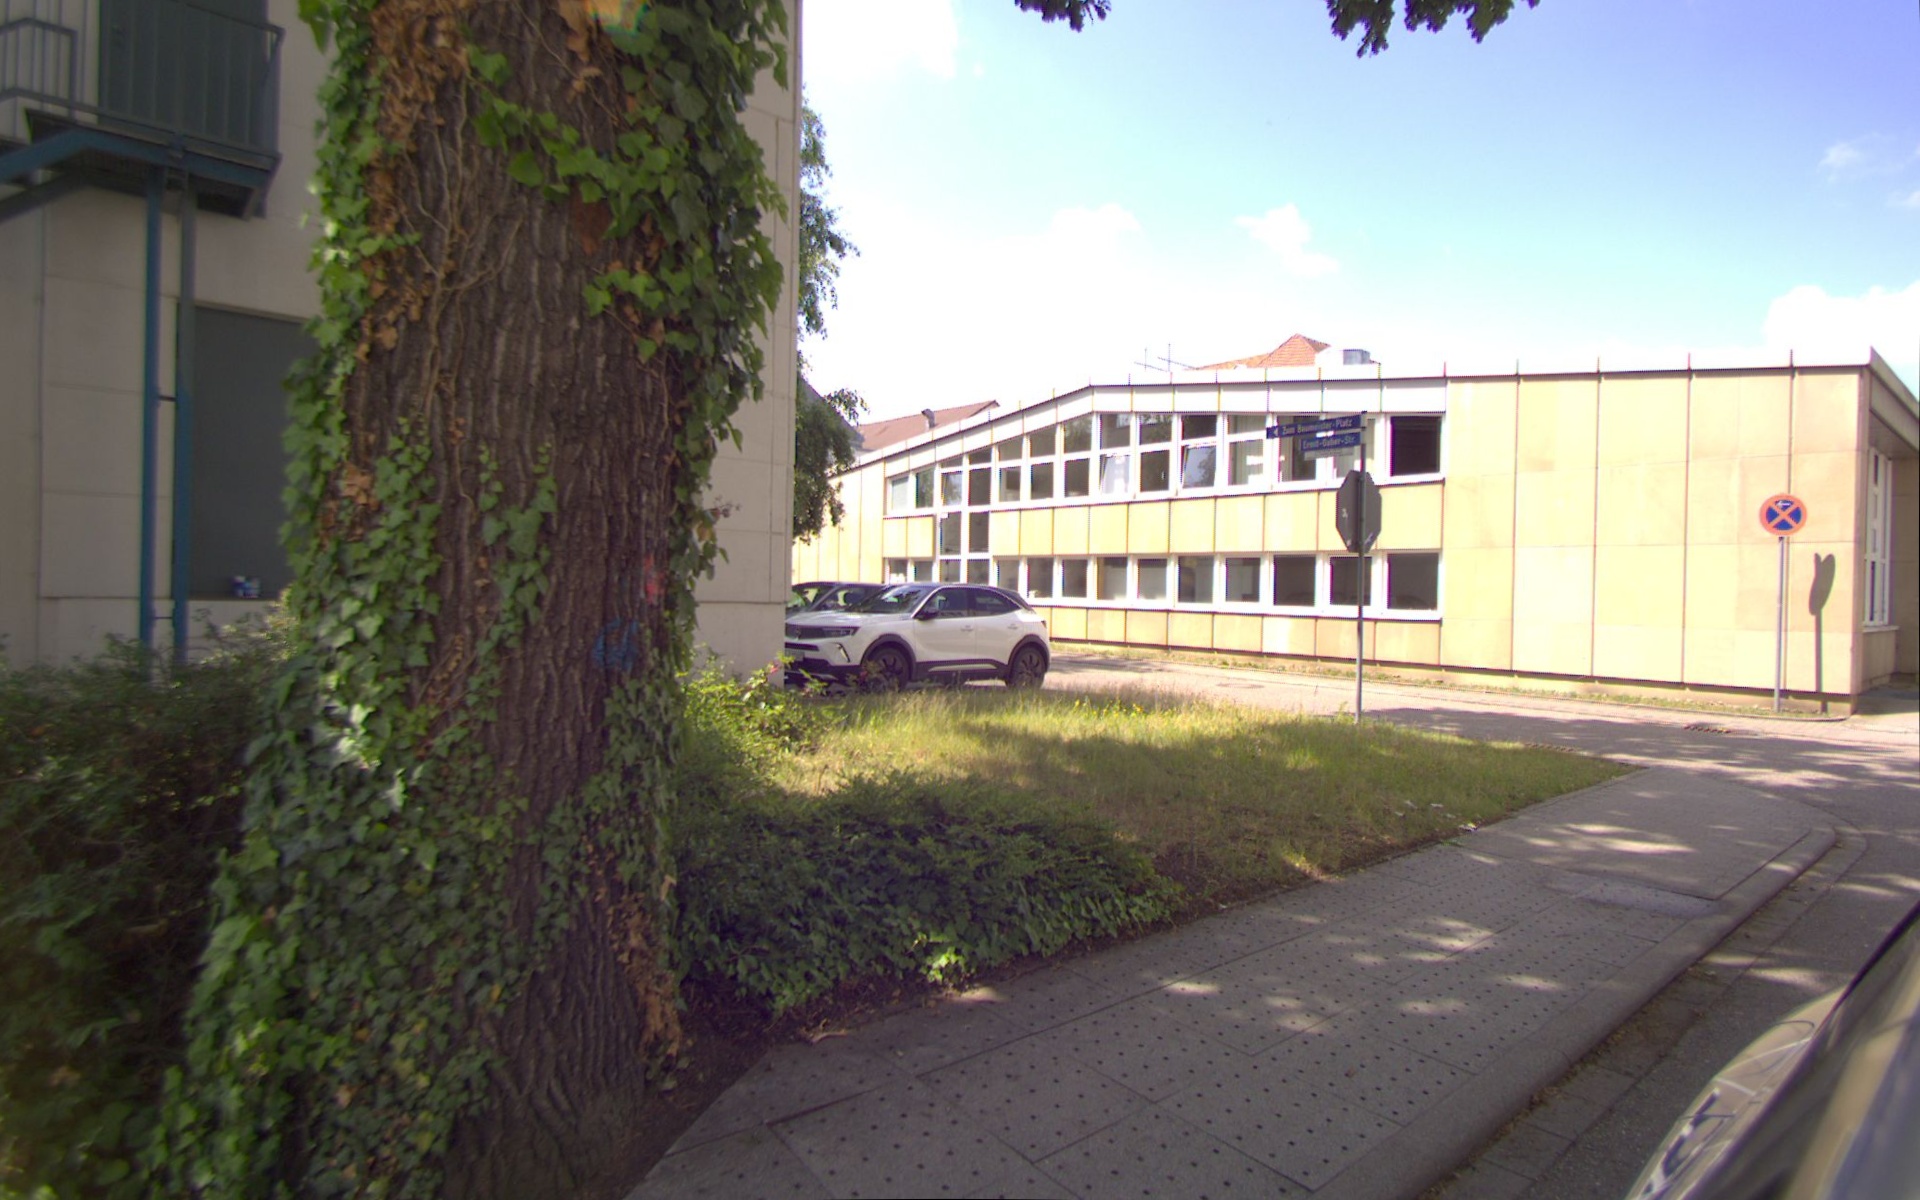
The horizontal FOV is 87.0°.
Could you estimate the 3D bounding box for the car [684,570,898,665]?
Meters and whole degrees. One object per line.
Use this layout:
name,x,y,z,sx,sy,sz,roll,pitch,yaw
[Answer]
car,-3.017,0.273,18.489,1.626,1.572,3.566,2,1,45

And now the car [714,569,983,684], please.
car,-1.705,0.355,16.155,3.929,1.598,1.828,0,1,-41

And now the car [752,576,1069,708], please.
car,-0.554,0.473,13.590,4.108,1.495,1.670,0,1,-41
